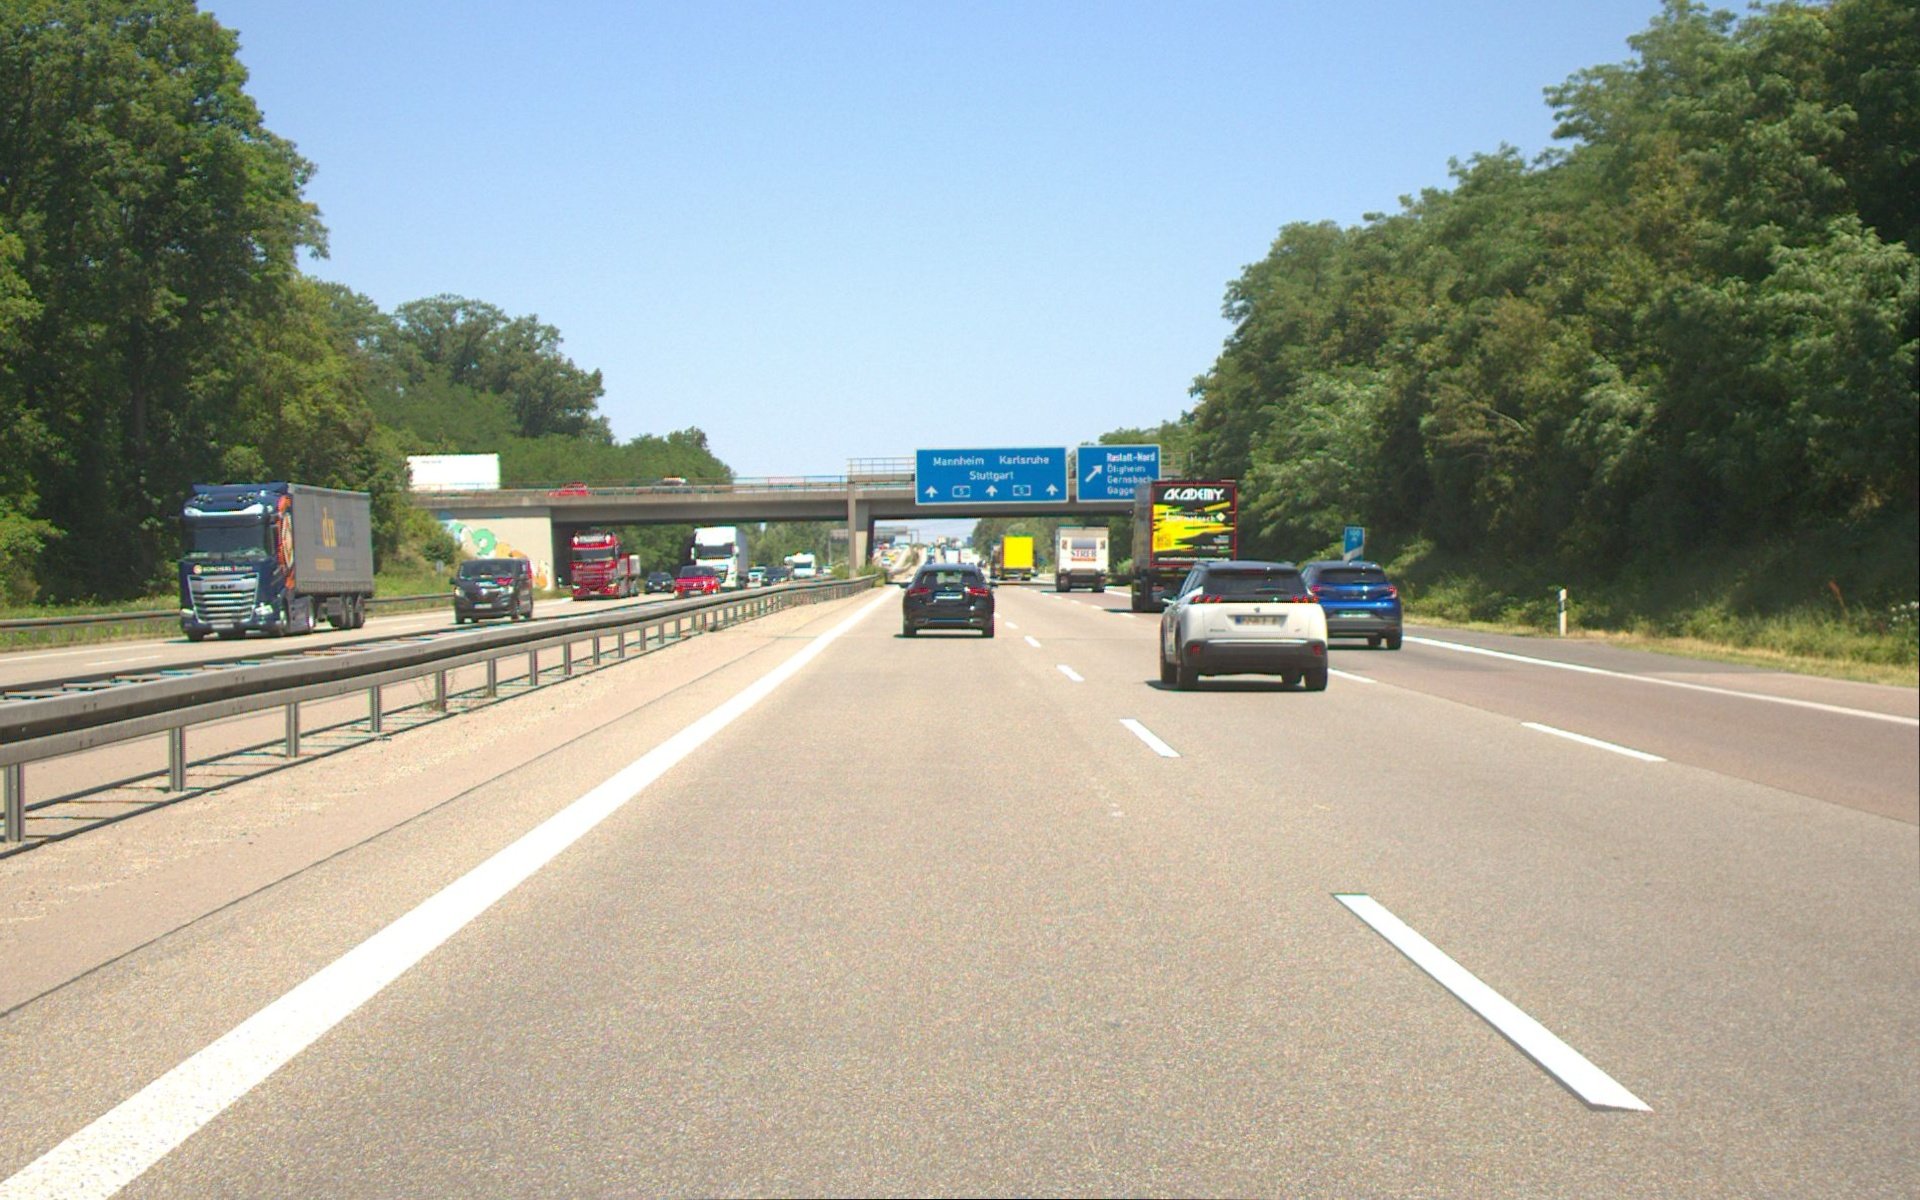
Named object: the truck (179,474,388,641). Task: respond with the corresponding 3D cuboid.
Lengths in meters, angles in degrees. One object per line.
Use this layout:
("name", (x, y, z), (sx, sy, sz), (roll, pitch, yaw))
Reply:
("truck", (-18.935, -1.169, 97.318), (3.323, 4.327, 13.911), (1, 0, -1))

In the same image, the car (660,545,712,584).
("car", (-11.423, -1.469, 143.687), (1.731, 1.579, 4.644), (1, 0, 0))

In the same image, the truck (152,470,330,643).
("truck", (-18.825, -1.118, 90.370), (3.323, 4.327, 6.613), (1, 0, -1))

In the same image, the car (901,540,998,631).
("car", (-0.215, -0.288, 67.611), (1.827, 1.700, 4.000), (1, 0, -1))

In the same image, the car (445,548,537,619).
("car", (-14.102, -0.507, 103.665), (1.993, 2.007, 5.359), (-3, 0, 0))

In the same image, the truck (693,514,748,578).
("truck", (-15.331, -3.419, 220.138), (2.986, 4.005, 6.041), (1, 0, 1))

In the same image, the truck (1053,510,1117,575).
("truck", (6.710, -2.984, 182.886), (3.028, 3.308, 10.769), (1, 0, 4))

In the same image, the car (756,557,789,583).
("car", (-11.821, -1.876, 217.321), (1.807, 1.585, 4.669), (1, 0, 0))

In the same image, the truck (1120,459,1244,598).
("truck", (6.811, -2.149, 106.864), (2.975, 4.023, 10.982), (2, 0, 0))

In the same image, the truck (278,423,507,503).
("truck", (-41.722, -10.048, 253.148), (16.457, 5.546, 3.175), (1, 0, -7))

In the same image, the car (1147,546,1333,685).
("car", (3.369, 0.165, 42.113), (1.827, 1.602, 4.809), (0, 0, -1))

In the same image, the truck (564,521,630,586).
("truck", (-19.699, -2.507, 186.710), (2.749, 3.382, 7.662), (1, 0, 0))

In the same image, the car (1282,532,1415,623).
("car", (6.922, -0.403, 61.581), (1.870, 1.551, 4.201), (1, 0, 0))
